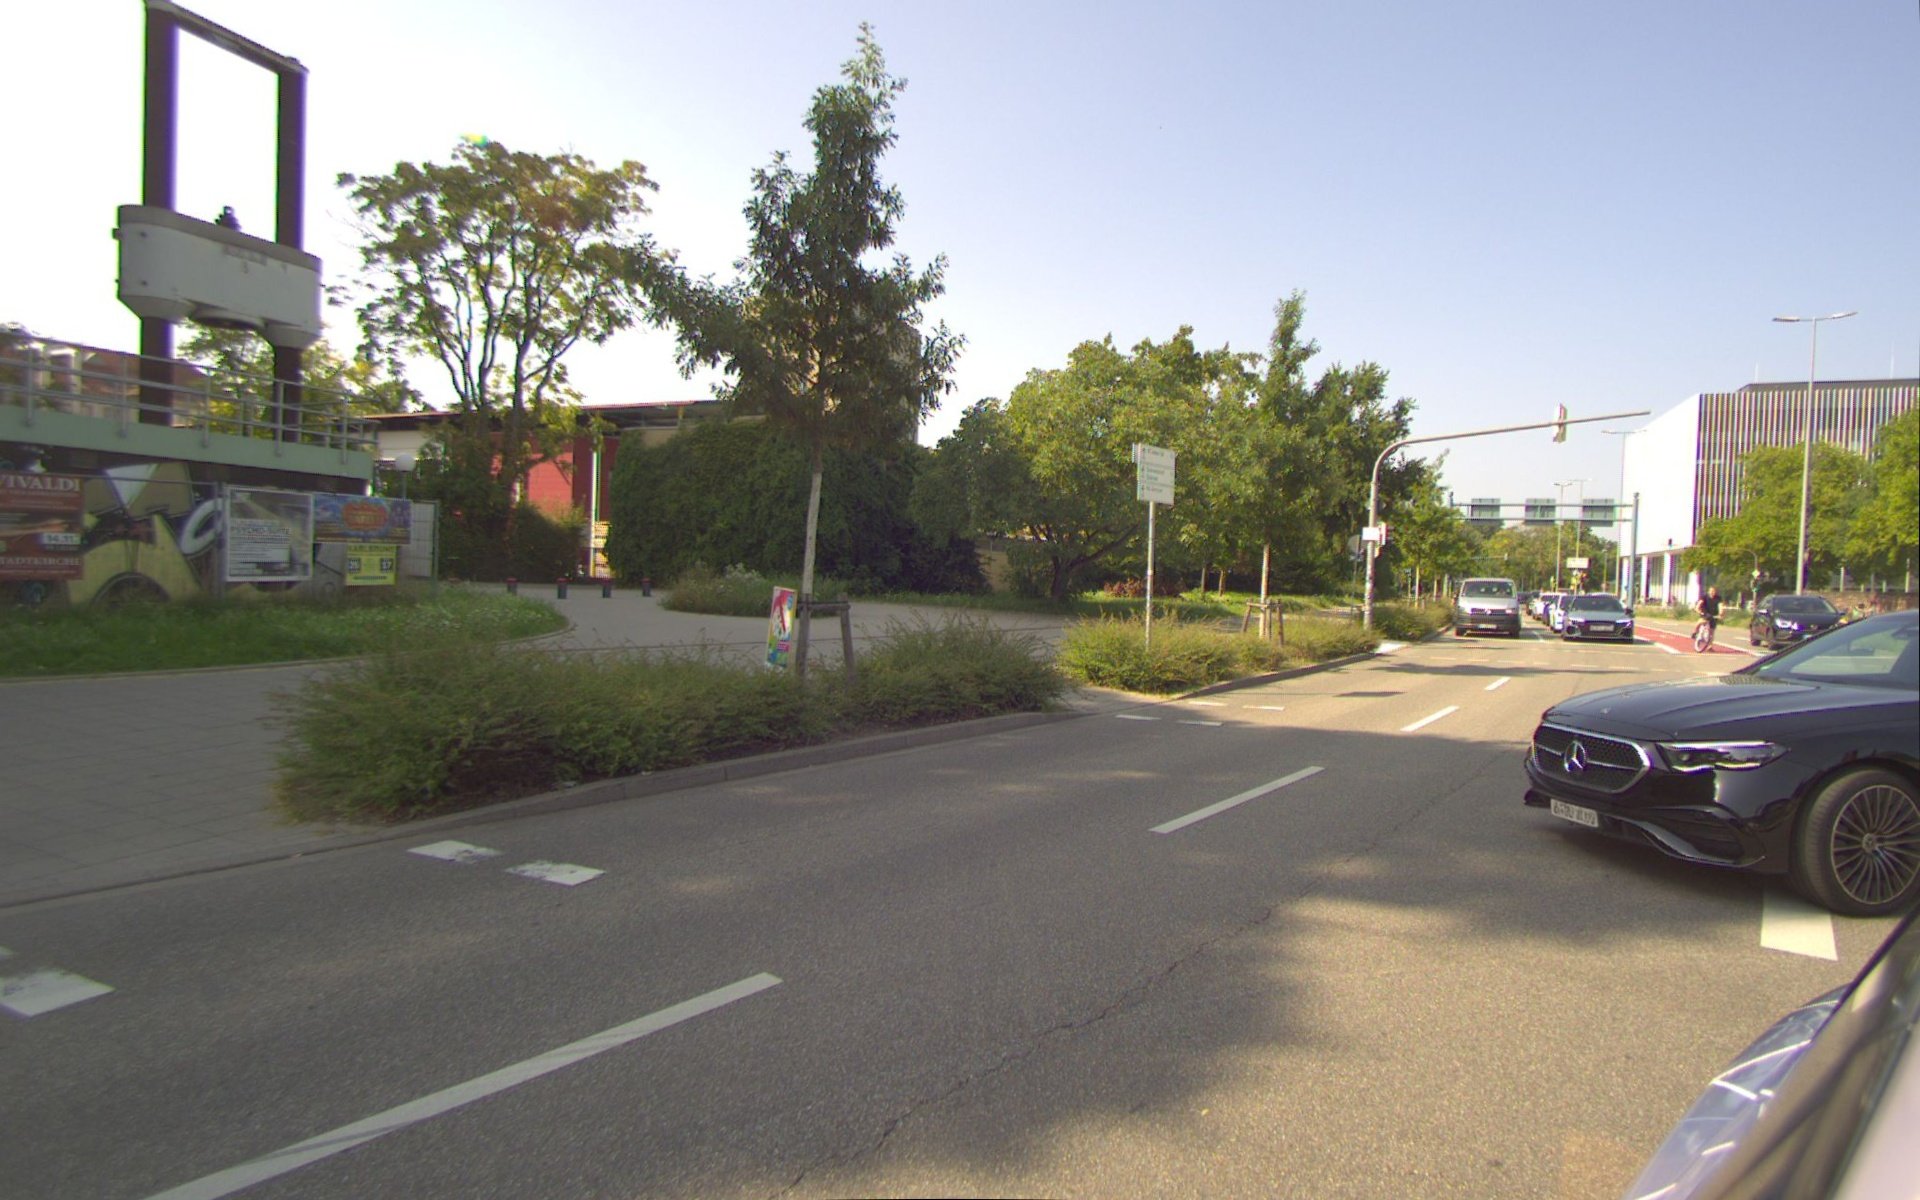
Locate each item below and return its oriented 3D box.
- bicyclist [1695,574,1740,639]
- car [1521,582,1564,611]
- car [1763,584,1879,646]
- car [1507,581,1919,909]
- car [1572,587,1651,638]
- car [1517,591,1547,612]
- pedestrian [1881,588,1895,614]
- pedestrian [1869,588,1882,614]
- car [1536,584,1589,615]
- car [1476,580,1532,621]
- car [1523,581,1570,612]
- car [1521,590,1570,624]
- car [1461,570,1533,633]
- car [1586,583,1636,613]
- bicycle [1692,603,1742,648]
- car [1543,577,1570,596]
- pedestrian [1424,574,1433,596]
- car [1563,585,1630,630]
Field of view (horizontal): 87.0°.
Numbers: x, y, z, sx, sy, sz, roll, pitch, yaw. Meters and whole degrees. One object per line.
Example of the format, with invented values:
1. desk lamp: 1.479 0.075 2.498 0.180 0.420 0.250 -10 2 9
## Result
1. bicyclist: 20.078 0.161 26.837 0.742 1.655 0.867 3 2 28
2. car: 37.241 -0.254 64.799 1.913 1.680 4.259 3 2 25
3. car: 24.386 0.367 28.829 1.840 1.598 4.660 1 1 32
4. car: 5.870 0.672 5.459 4.782 1.458 1.826 1 1 1
5. car: 20.539 0.327 32.068 1.896 1.418 4.866 3 2 31
6. car: 51.082 0.132 90.445 1.913 1.680 4.259 3 2 25
7. pedestrian: 63.271 0.067 69.014 0.481 1.762 0.501 3 -1 24
8. pedestrian: 62.847 0.044 69.452 0.481 1.762 0.501 3 -1 24
9. car: 32.270 -0.077 54.316 1.913 1.524 4.259 3 2 25
10. car: 22.190 -0.019 41.215 1.796 1.524 3.925 3 2 31
11. car: 34.635 -0.261 59.822 1.913 1.680 4.259 3 2 25
12. car: 28.961 0.310 50.161 1.983 1.524 4.390 3 2 29
13. car: 18.070 0.015 33.938 1.832 1.898 4.919 3 2 31
14. car: 39.531 -0.184 61.551 1.913 1.680 4.259 3 2 25
15. bicycle: 20.075 0.661 26.875 0.763 1.065 1.758 3 3 28
16. car: 71.388 -1.560 121.160 1.895 2.039 3.975 3 0 18
17. pedestrian: 41.120 -1.312 88.846 0.617 1.868 0.635 2 2 27
18. car: 24.156 0.238 38.520 1.984 1.524 4.386 3 2 31
